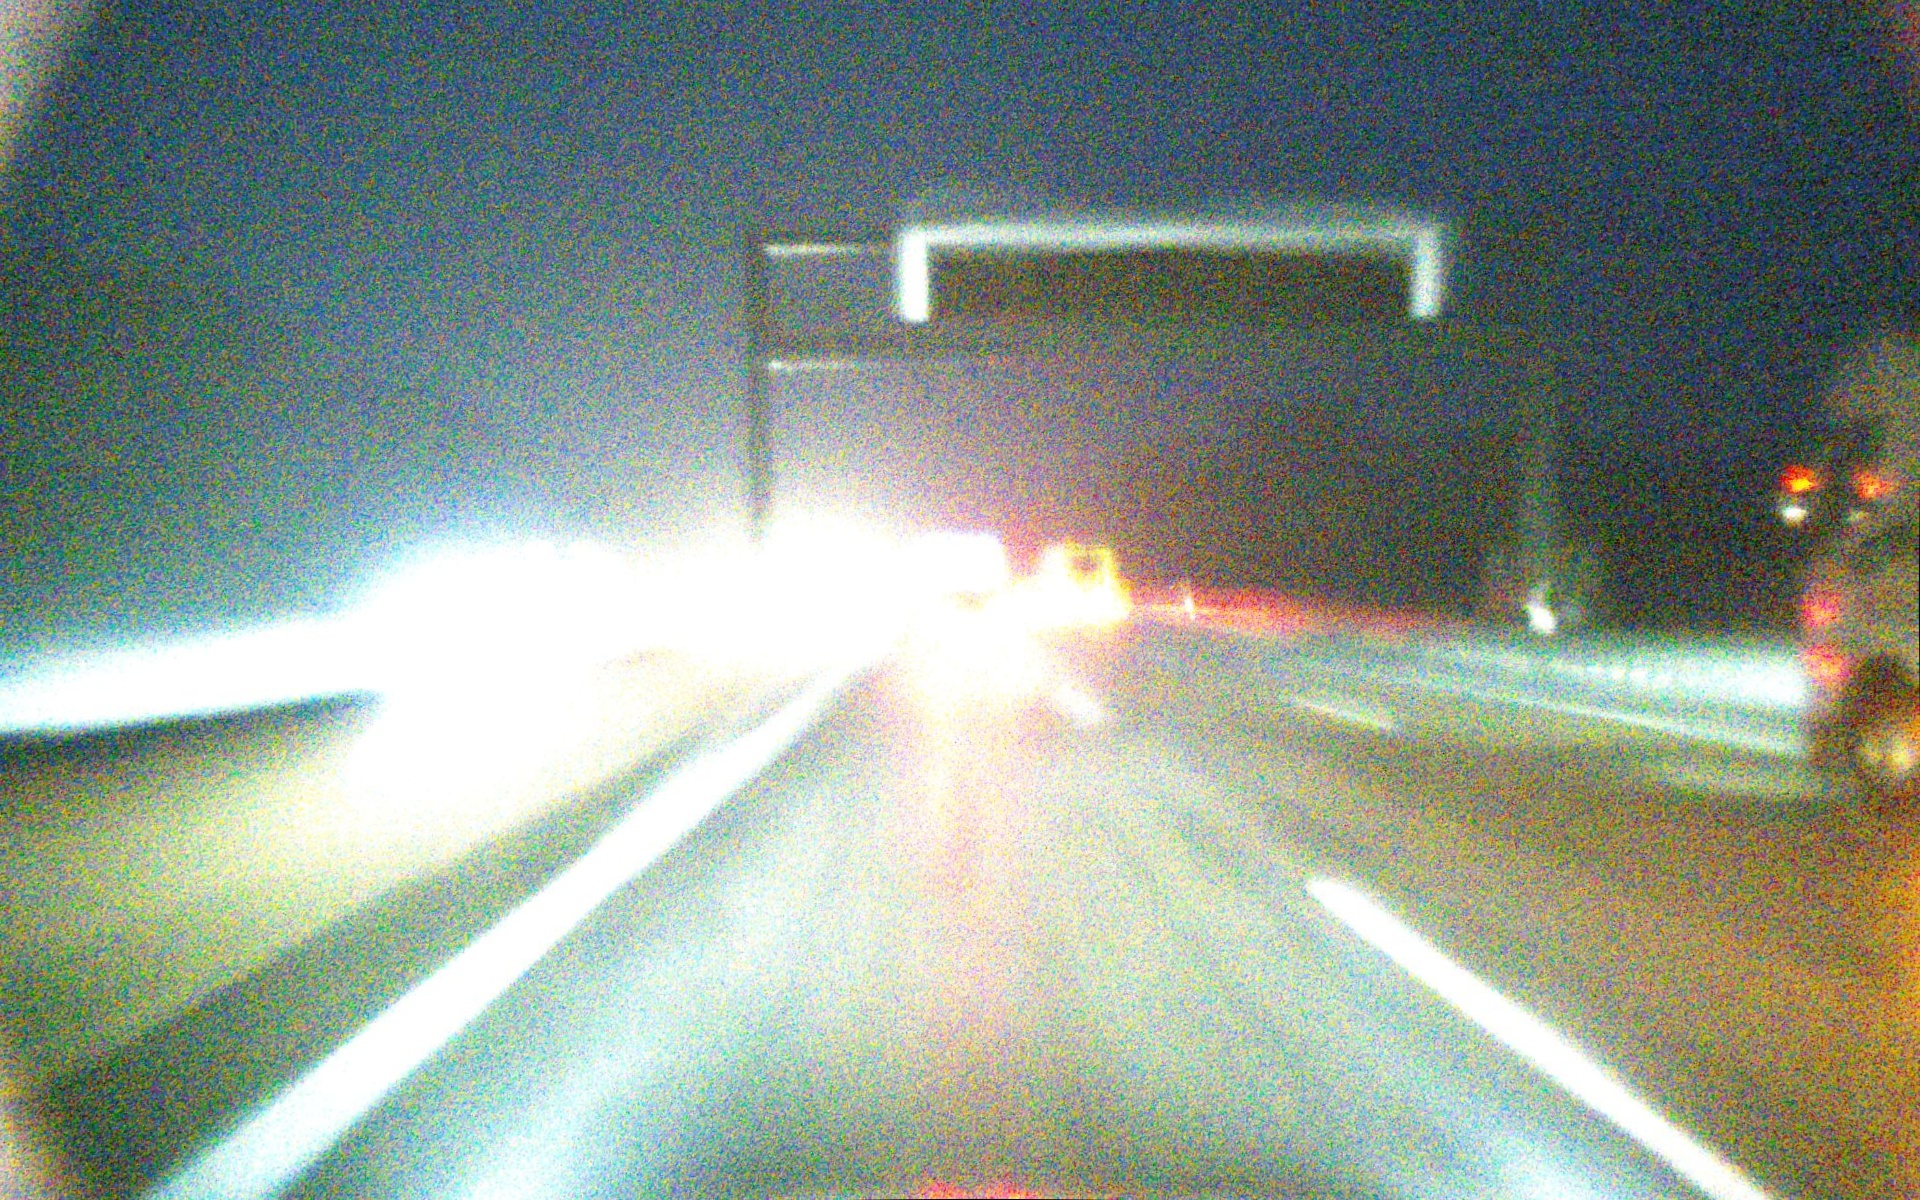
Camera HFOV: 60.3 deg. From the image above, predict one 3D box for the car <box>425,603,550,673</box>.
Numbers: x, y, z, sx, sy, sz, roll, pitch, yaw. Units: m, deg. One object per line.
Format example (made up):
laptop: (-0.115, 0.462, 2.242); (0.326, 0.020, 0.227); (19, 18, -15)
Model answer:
car: (-12.522, 0.968, 44.142); (1.953, 1.692, 4.808); (-1, 0, 0)

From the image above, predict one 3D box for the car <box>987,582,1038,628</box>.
car: (2.443, 0.230, 78.286); (1.954, 2.049, 3.996); (-2, 0, -4)

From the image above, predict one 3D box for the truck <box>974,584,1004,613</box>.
truck: (3.495, -0.163, 202.735); (2.976, 3.355, 11.375); (-2, 0, -2)

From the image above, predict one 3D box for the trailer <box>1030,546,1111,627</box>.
trailer: (6.074, -0.663, 93.532); (2.980, 4.180, 13.821); (-2, 0, -2)

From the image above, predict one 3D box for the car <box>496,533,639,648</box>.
car: (-17.657, -0.483, 75.382); (3.628, 4.811, 10.599); (1, 1, 2)

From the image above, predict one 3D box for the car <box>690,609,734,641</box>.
car: (-13.956, 1.392, 93.232); (1.877, 1.713, 3.999); (-2, -1, -1)

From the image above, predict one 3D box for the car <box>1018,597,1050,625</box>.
car: (5.614, 0.832, 125.822); (1.954, 2.049, 3.996); (-2, 0, -4)

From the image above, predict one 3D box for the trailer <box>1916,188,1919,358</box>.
trailer: (8.102, -0.685, 3.979); (2.844, 4.180, 14.483); (-1, 0, -1)

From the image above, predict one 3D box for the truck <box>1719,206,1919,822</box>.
truck: (7.946, -0.602, 10.996); (2.844, 4.180, 6.029); (-1, 0, -2)

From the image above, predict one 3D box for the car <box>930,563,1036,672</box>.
car: (0.398, 0.344, 33.048); (1.953, 2.049, 3.999); (0, -1, -2)
